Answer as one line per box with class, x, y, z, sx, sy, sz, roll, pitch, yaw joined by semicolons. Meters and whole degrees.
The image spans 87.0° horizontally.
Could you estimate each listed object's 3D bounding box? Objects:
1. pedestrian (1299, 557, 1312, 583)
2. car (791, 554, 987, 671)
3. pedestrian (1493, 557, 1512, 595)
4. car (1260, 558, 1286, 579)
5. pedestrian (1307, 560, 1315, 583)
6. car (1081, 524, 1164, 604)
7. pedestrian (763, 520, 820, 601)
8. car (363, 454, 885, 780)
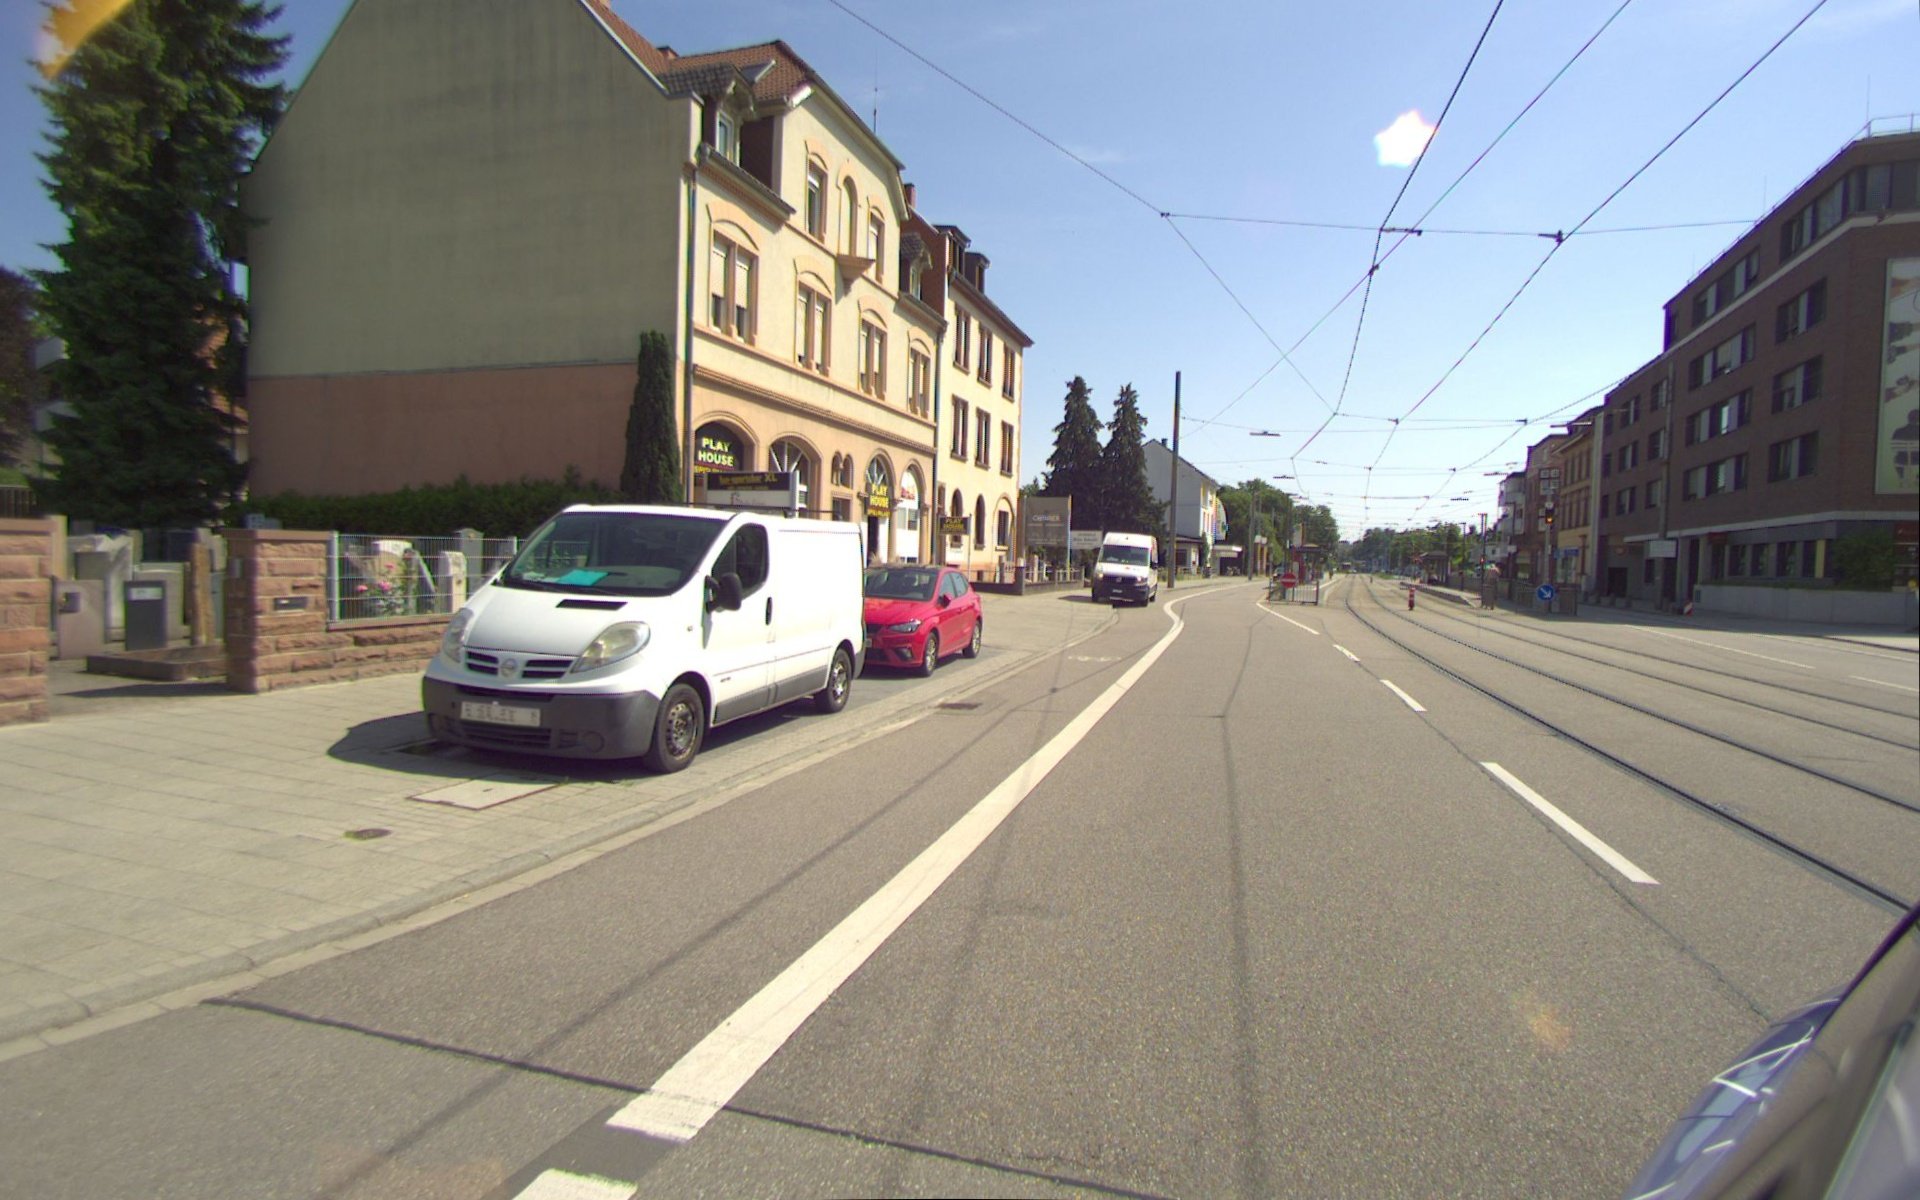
pedestrian;22.893;-1.996;67.120;0.697;1.710;0.415;2;2;14
car;-0.879;0.074;14.819;1.700;1.423;3.985;2;3;14
pedestrian;25.620;-1.148;47.828;0.550;1.781;0.790;2;2;15
car;31.862;-3.248;103.032;1.979;2.038;3.967;3;3;25
pedestrian;26.791;-2.172;77.235;0.409;1.710;0.706;2;2;7
car;6.164;-1.359;37.635;2.304;2.566;6.479;4;3;14
pedestrian;-3.921;-0.919;23.502;1.106;1.837;0.948;1;2;-22
car;-2.477;-0.014;9.043;2.061;2.038;4.887;3;3;15
